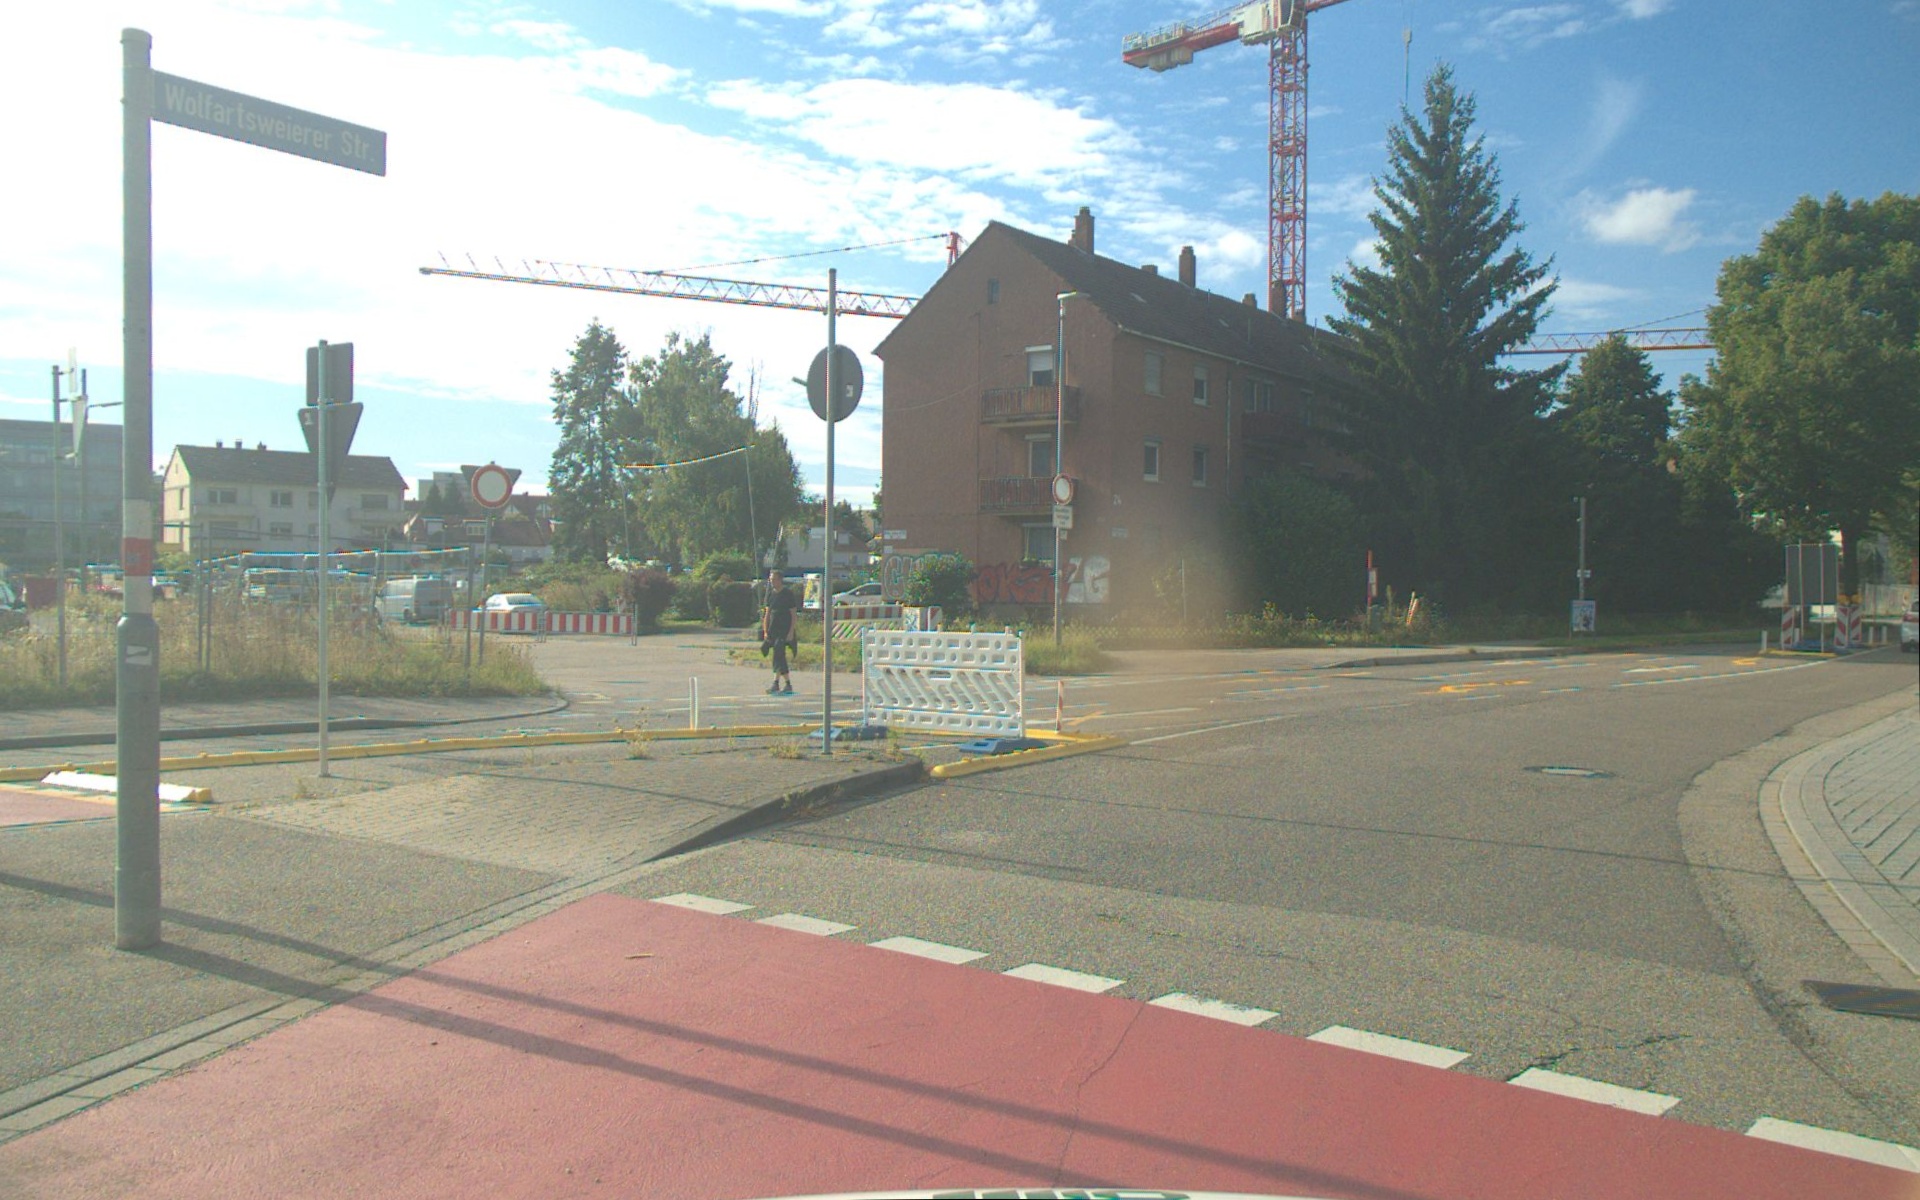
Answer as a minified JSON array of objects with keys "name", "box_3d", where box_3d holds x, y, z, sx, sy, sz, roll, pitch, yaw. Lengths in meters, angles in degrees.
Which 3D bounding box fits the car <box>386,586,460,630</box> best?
[{"name":"car","box_3d":[-23.294,0.319,71.677,1.866,1.847,3.946,0,0,-38]}]

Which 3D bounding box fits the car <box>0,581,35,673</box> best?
[{"name":"car","box_3d":[-20.743,0.515,34.647,1.853,1.847,3.973,0,0,-22]}]

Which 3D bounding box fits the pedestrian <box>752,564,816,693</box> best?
[{"name":"pedestrian","box_3d":[-2.651,0.422,24.949,0.653,1.903,0.835,1,0,19]}]

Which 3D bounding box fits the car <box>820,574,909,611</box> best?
[{"name":"car","box_3d":[-4.405,-0.326,75.980,3.913,1.646,1.770,0,0,-9]}]

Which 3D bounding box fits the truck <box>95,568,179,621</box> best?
[{"name":"truck","box_3d":[-37.748,-0.266,75.794,2.271,2.369,5.559,1,0,-39]}]

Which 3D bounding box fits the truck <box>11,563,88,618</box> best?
[{"name":"truck","box_3d":[-40.765,-0.434,73.990,2.043,2.369,5.559,1,0,-39]}]

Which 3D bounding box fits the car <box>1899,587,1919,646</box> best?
[{"name":"car","box_3d":[27.910,0.481,47.112,1.817,1.600,4.444,2,1,32]}]

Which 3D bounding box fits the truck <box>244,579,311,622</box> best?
[{"name":"truck","box_3d":[-36.339,-0.001,88.024,1.960,2.209,5.332,0,0,-38]}]

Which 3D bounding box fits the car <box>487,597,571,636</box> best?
[{"name":"car","box_3d":[-16.424,0.601,62.953,1.703,1.417,3.946,0,0,-38]}]

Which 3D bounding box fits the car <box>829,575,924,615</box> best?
[{"name":"car","box_3d":[-3.524,-0.200,70.234,3.904,1.646,1.774,1,0,2]}]

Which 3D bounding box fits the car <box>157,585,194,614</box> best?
[{"name":"car","box_3d":[-53.084,-0.047,111.888,1.972,1.892,3.961,0,0,-30]}]
